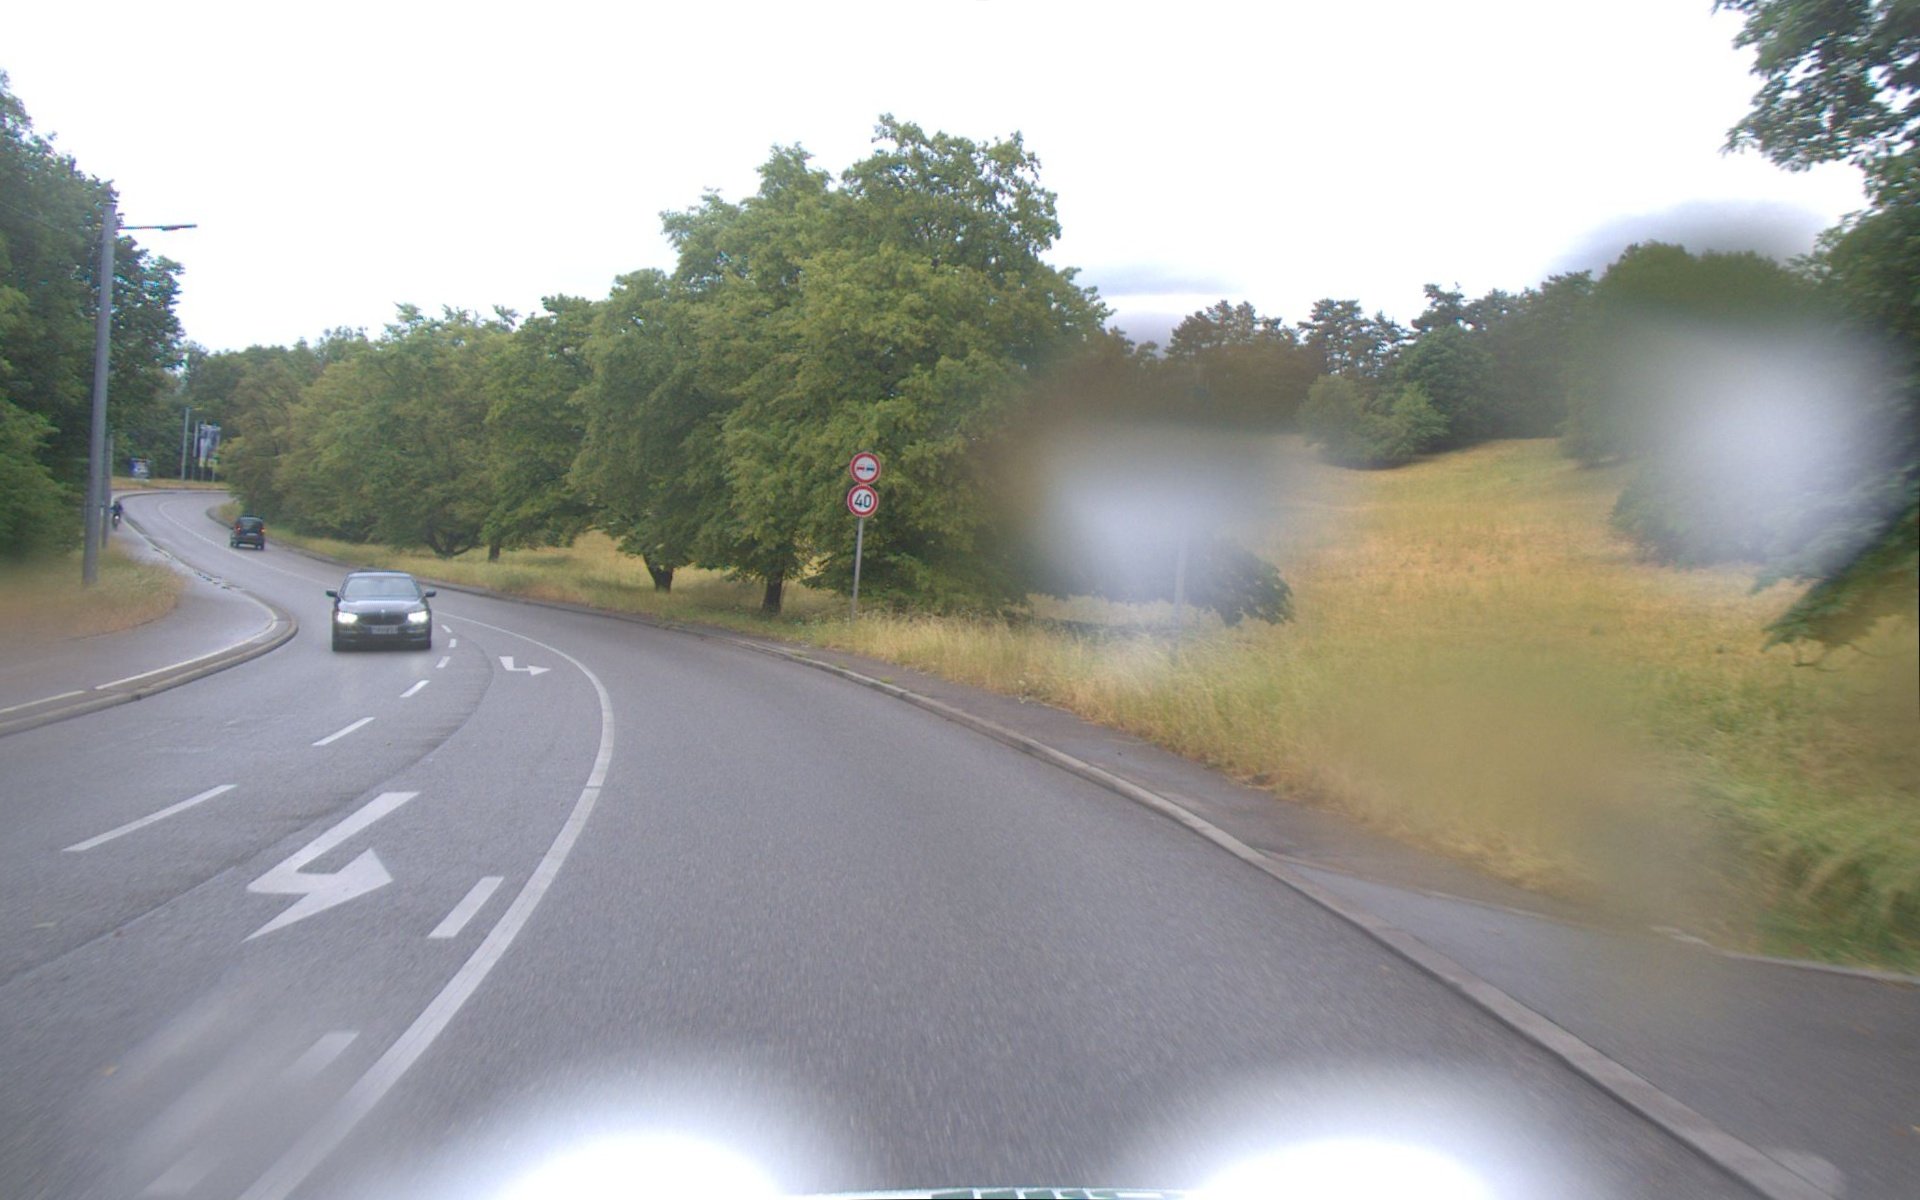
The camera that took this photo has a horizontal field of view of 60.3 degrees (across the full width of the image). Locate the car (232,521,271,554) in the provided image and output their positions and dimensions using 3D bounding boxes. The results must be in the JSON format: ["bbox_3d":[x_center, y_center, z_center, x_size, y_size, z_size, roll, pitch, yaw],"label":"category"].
[{"bbox_3d":[-42.966,-3.796,100.284,1.722,1.746,3.964,4,2,-29],"label":"car"}]

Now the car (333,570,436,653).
[{"bbox_3d":[-11.563,0.187,33.454,1.818,1.527,4.608,-1,1,-18],"label":"car"}]
